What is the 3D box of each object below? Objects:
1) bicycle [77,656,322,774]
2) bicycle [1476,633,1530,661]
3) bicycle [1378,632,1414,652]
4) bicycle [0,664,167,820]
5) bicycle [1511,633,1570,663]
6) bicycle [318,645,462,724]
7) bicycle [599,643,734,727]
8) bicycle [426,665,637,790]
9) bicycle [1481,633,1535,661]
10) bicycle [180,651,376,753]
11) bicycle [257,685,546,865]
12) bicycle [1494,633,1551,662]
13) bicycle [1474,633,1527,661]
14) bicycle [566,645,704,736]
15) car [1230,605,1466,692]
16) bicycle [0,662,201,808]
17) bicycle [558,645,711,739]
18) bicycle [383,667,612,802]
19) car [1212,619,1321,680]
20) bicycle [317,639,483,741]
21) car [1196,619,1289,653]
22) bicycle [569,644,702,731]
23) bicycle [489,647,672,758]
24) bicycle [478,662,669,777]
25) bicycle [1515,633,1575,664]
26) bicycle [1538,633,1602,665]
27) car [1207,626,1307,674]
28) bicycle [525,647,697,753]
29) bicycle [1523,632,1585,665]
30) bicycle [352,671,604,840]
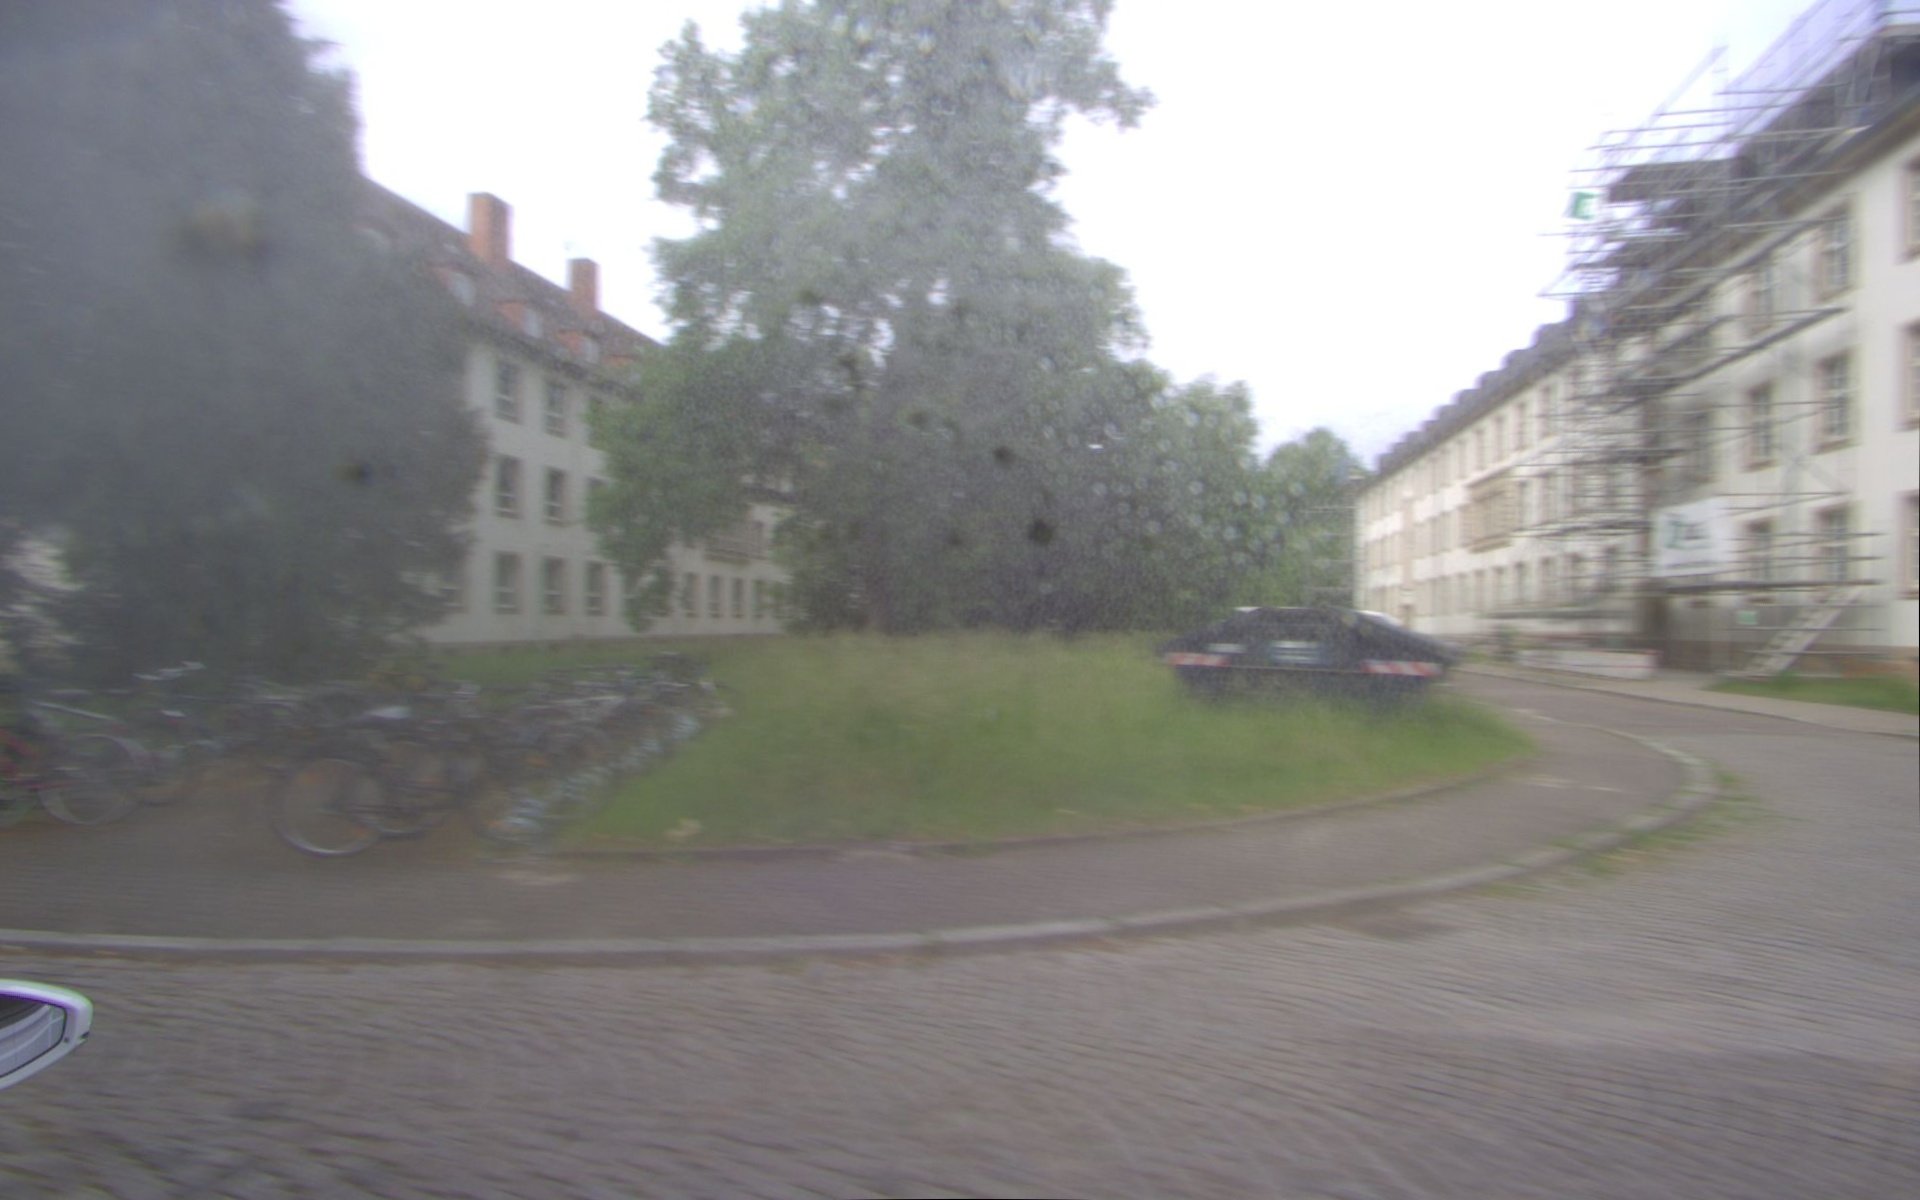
[{"bbox_3d":[-7.371,1.095,9.788,1.793,1.079,0.617,1,-1,-14],"label":"bicycle"},{"bbox_3d":[21.750,1.871,40.146,1.829,1.109,0.510,0,-1,19],"label":"bicycle"},{"bbox_3d":[24.790,2.385,56.930,1.836,1.109,0.508,0,-1,34],"label":"bicycle"},{"bbox_3d":[-7.229,1.070,7.690,1.736,1.129,0.551,1,-1,-7],"label":"bicycle"},{"bbox_3d":[21.532,1.775,37.191,1.829,1.109,0.510,0,-1,19],"label":"bicycle"},{"bbox_3d":[-7.884,1.158,13.882,1.650,1.055,0.551,1,-1,-3],"label":"bicycle"},{"bbox_3d":[-4.055,1.174,13.921,1.731,1.126,0.478,1,-1,-5],"label":"bicycle"},{"bbox_3d":[-3.764,1.109,8.868,1.635,1.021,0.478,-1,-1,-5],"label":"bicycle"},{"bbox_3d":[21.679,1.854,39.633,1.829,1.109,0.510,0,-1,19],"label":"bicycle"},{"bbox_3d":[-7.606,1.122,11.239,1.722,1.079,0.551,1,-1,-14],"label":"bicycle"},{"bbox_3d":[-3.609,1.106,6.598,1.595,1.021,0.477,0,-1,-20],"label":"bicycle"},{"bbox_3d":[21.472,1.806,38.219,1.829,1.109,0.510,0,-1,19],"label":"bicycle"},{"bbox_3d":[21.895,1.887,40.574,1.829,1.109,0.510,0,-1,19],"label":"bicycle"},{"bbox_3d":[-4.151,1.144,12.827,1.619,1.126,0.442,0,-1,1],"label":"bicycle"},{"bbox_3d":[9.435,1.161,24.815,5.176,2.022,1.968,0,-1,11],"label":"car"},{"bbox_3d":[-7.338,1.082,8.174,1.770,1.129,0.551,1,-1,-7],"label":"bicycle"},{"bbox_3d":[-4.005,1.127,12.394,1.731,1.126,0.478,1,-1,-5],"label":"bicycle"},{"bbox_3d":[-3.777,1.089,8.246,1.635,1.021,0.478,-1,-1,-5],"label":"bicycle"},{"bbox_3d":[9.799,1.565,32.246,3.187,1.868,1.603,0,-1,11],"label":"car"},{"bbox_3d":[-6.790,1.080,12.181,1.720,1.186,0.551,0,-1,3],"label":"bicycle"},{"bbox_3d":[14.491,1.845,51.517,4.459,1.669,1.468,0,-1,11],"label":"car"},{"bbox_3d":[-4.312,1.157,13.362,1.619,1.126,0.442,0,-1,1],"label":"bicycle"},{"bbox_3d":[-3.982,1.071,10.576,1.731,1.126,0.478,1,-1,-5],"label":"bicycle"},{"bbox_3d":[-3.694,1.134,9.643,1.635,1.021,0.478,-1,-1,-5],"label":"bicycle"},{"bbox_3d":[21.274,1.749,36.427,1.829,1.109,0.510,0,-1,19],"label":"bicycle"},{"bbox_3d":[21.341,1.704,35.045,1.829,1.109,0.510,0,-1,19],"label":"bicycle"},{"bbox_3d":[10.171,1.708,34.488,3.187,1.585,1.331,0,-1,11],"label":"car"},{"bbox_3d":[-3.837,1.090,11.092,1.732,1.126,0.477,1,-1,-11],"label":"bicycle"},{"bbox_3d":[21.138,1.718,35.646,1.829,1.109,0.510,0,-1,19],"label":"bicycle"},{"bbox_3d":[-3.446,1.090,7.288,1.595,1.088,0.477,0,-1,-20],"label":"bicycle"}]
